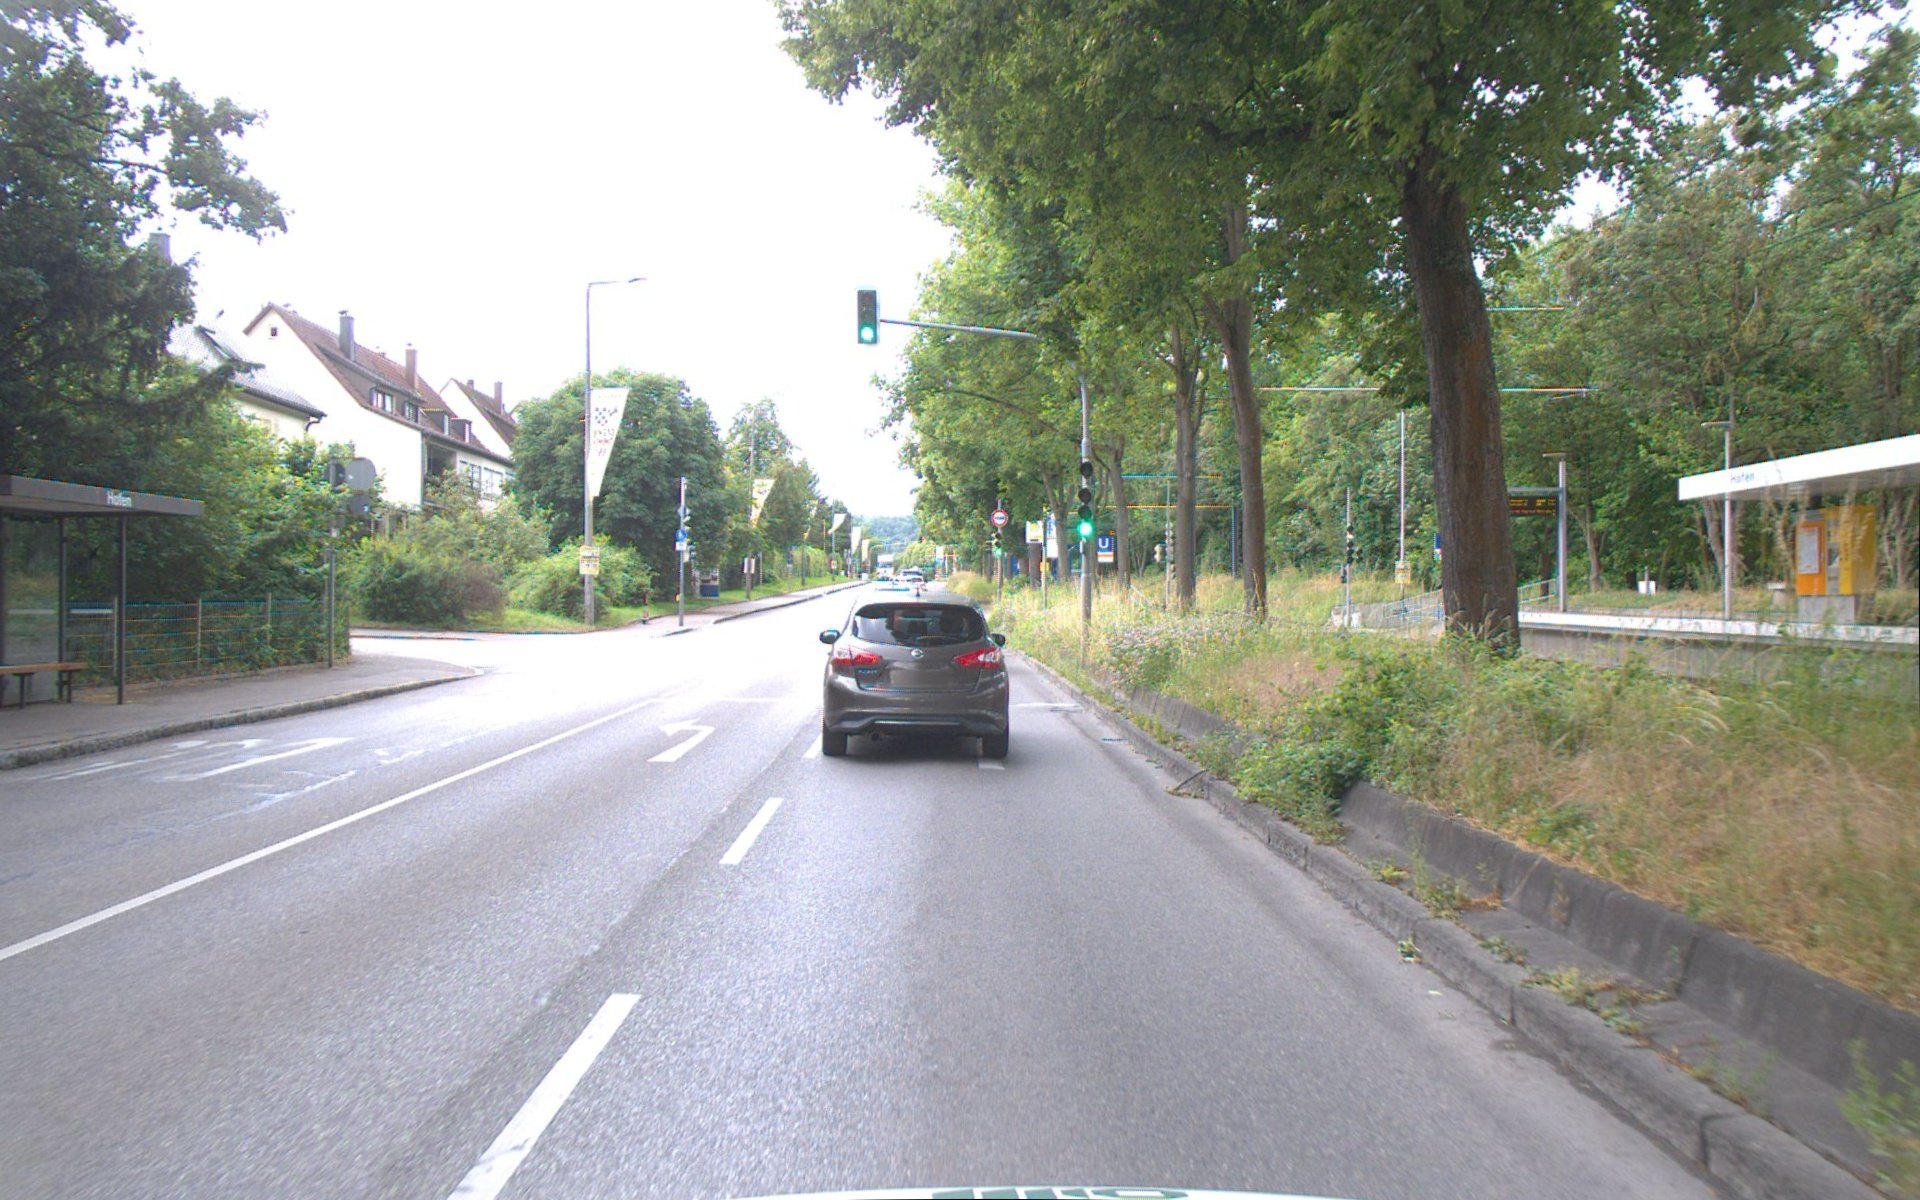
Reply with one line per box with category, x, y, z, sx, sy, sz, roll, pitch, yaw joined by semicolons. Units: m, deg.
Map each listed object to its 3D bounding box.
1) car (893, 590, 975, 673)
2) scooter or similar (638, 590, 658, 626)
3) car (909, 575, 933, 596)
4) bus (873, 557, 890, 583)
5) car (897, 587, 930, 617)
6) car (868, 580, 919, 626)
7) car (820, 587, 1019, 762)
car;-0.514;0.558;31.677;1.471;1.466;3.541;1;0;-1
scooter or similar;-11.167;0.278;59.231;0.453;1.281;1.426;1;0;0
car;-2.782;-1.036;117.028;1.657;1.466;3.541;1;0;-1
bus;-12.449;-4.712;262.356;2.437;4.096;10.215;0;1;-1
car;-2.345;0.071;83.810;1.657;1.466;3.541;1;0;-1
car;-2.202;0.089;55.465;1.657;1.466;3.541;1;0;-1
car;-0.380;0.651;16.452;1.747;1.533;3.695;0;0;-1
